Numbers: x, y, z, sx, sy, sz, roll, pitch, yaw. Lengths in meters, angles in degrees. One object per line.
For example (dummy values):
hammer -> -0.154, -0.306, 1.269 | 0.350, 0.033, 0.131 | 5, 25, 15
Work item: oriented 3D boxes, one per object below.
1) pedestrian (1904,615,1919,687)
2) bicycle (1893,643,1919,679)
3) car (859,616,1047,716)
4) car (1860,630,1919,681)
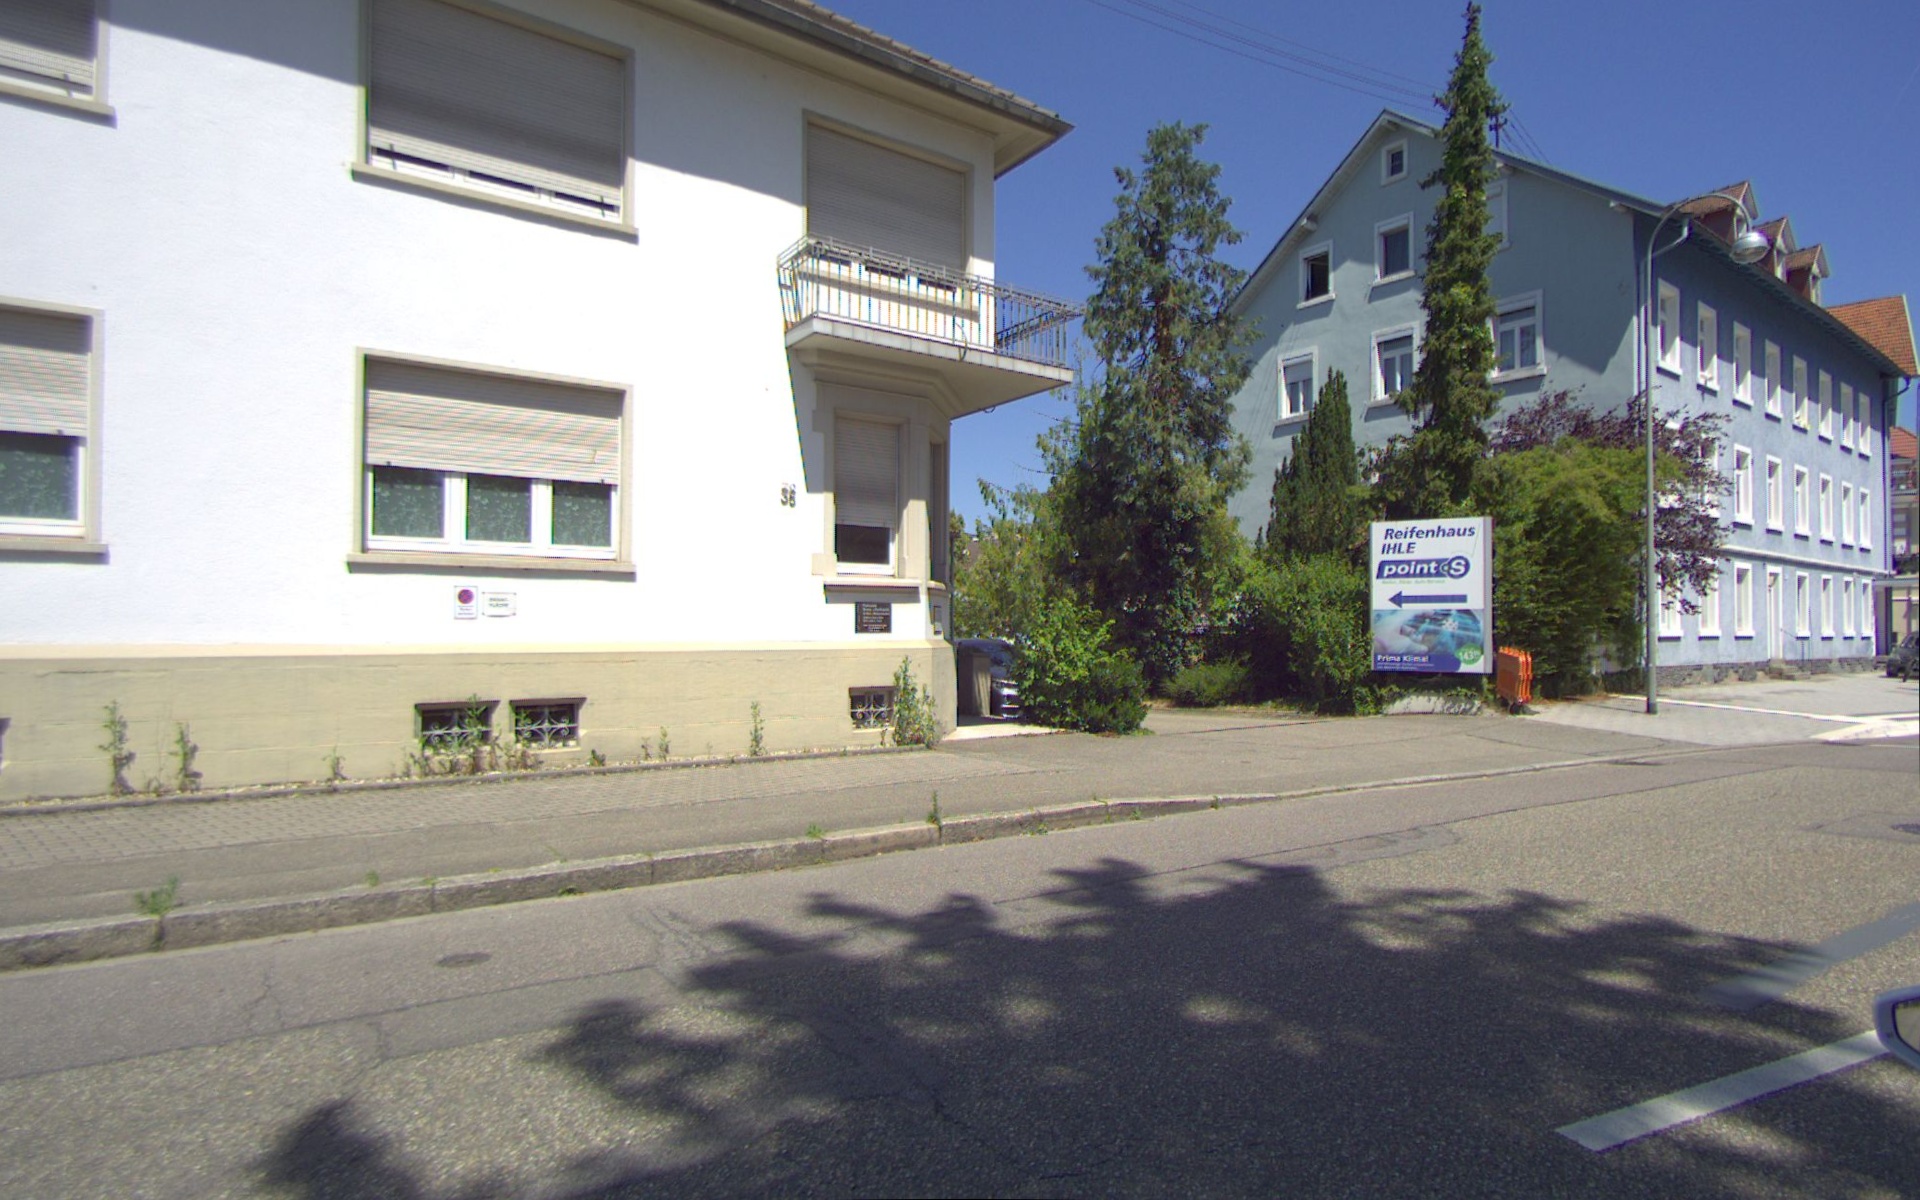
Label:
pedestrian -> 25.333, 1.344, 26.255 | 0.764, 1.873, 0.750 | 2, 1, -36
bicycle -> 28.108, 1.792, 29.324 | 1.946, 0.990, 0.494 | 2, 2, -24
car -> -0.236, 1.098, 17.704 | 1.547, 1.559, 3.902 | 3, -3, -30
car -> 30.592, 1.816, 32.528 | 3.743, 1.554, 1.565 | 4, -3, -39
